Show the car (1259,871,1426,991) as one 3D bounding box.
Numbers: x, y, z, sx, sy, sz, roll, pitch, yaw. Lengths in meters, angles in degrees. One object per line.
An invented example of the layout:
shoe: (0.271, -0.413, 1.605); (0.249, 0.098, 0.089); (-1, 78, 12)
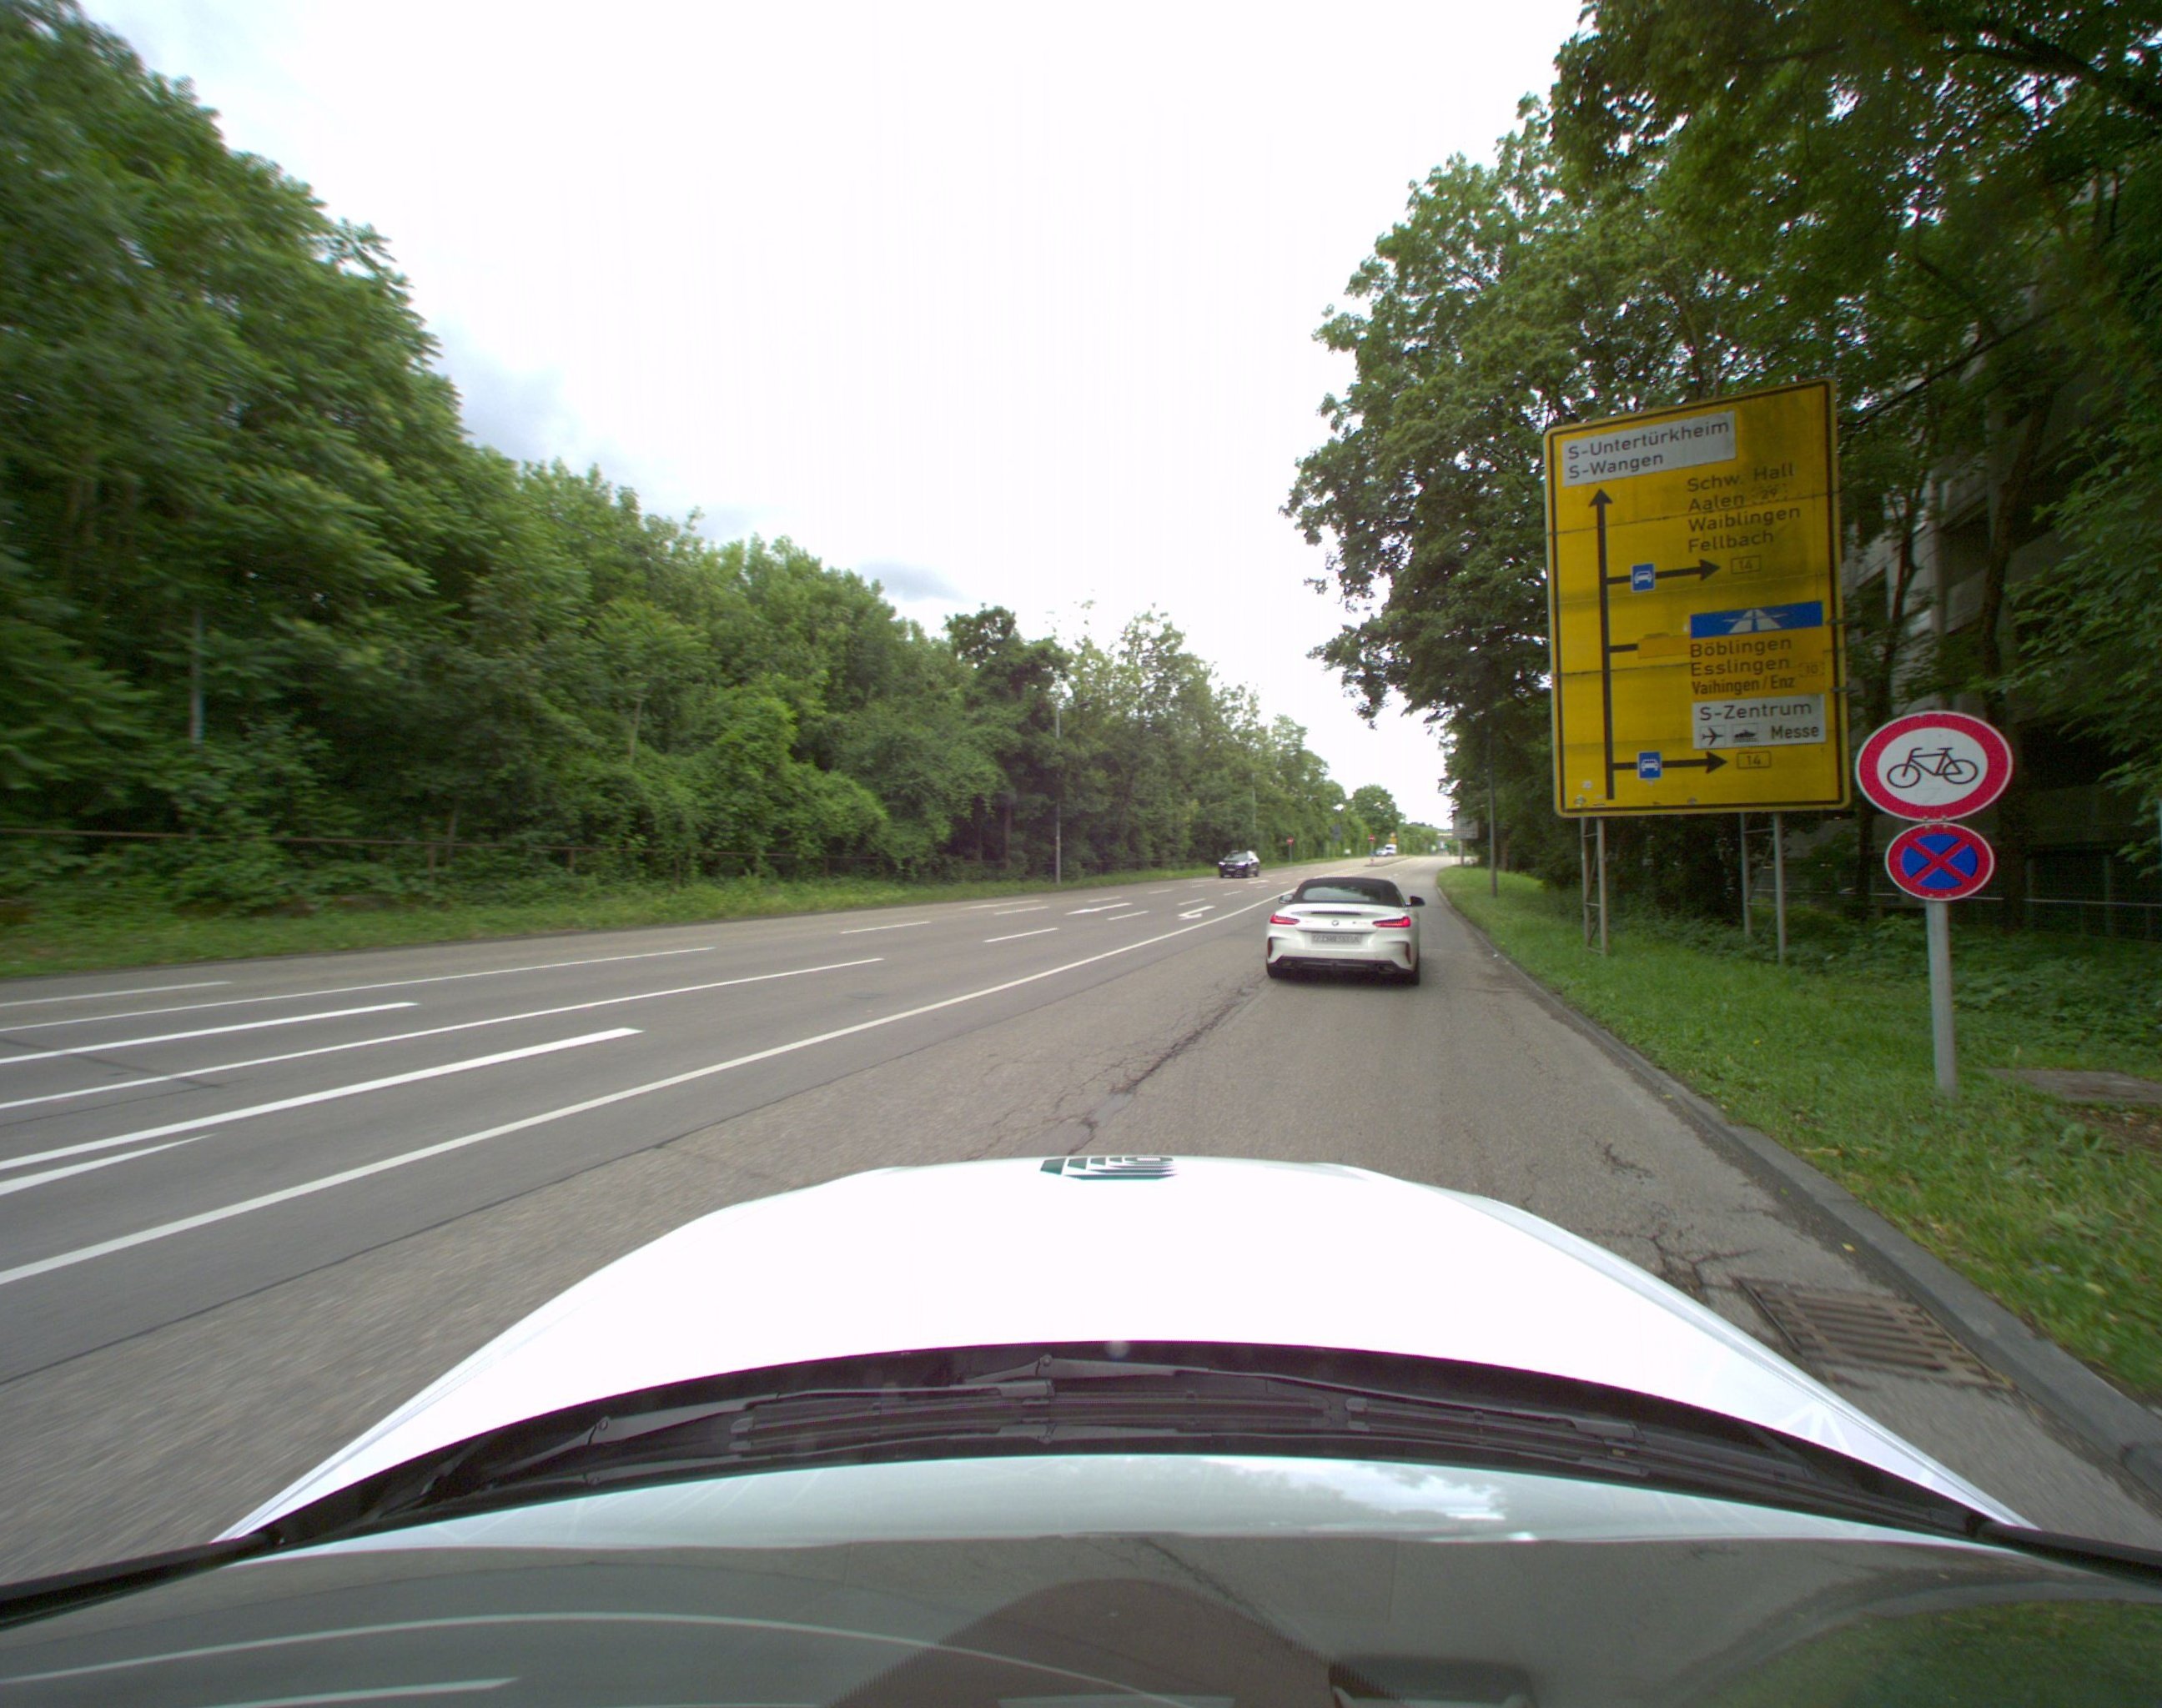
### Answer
car: (3.737, 0.905, 11.278); (1.858, 1.309, 3.893); (0, -1, 22)

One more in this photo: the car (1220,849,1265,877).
car: (10.286, 0.580, 51.674); (1.805, 1.653, 4.245); (1, 0, 25)
